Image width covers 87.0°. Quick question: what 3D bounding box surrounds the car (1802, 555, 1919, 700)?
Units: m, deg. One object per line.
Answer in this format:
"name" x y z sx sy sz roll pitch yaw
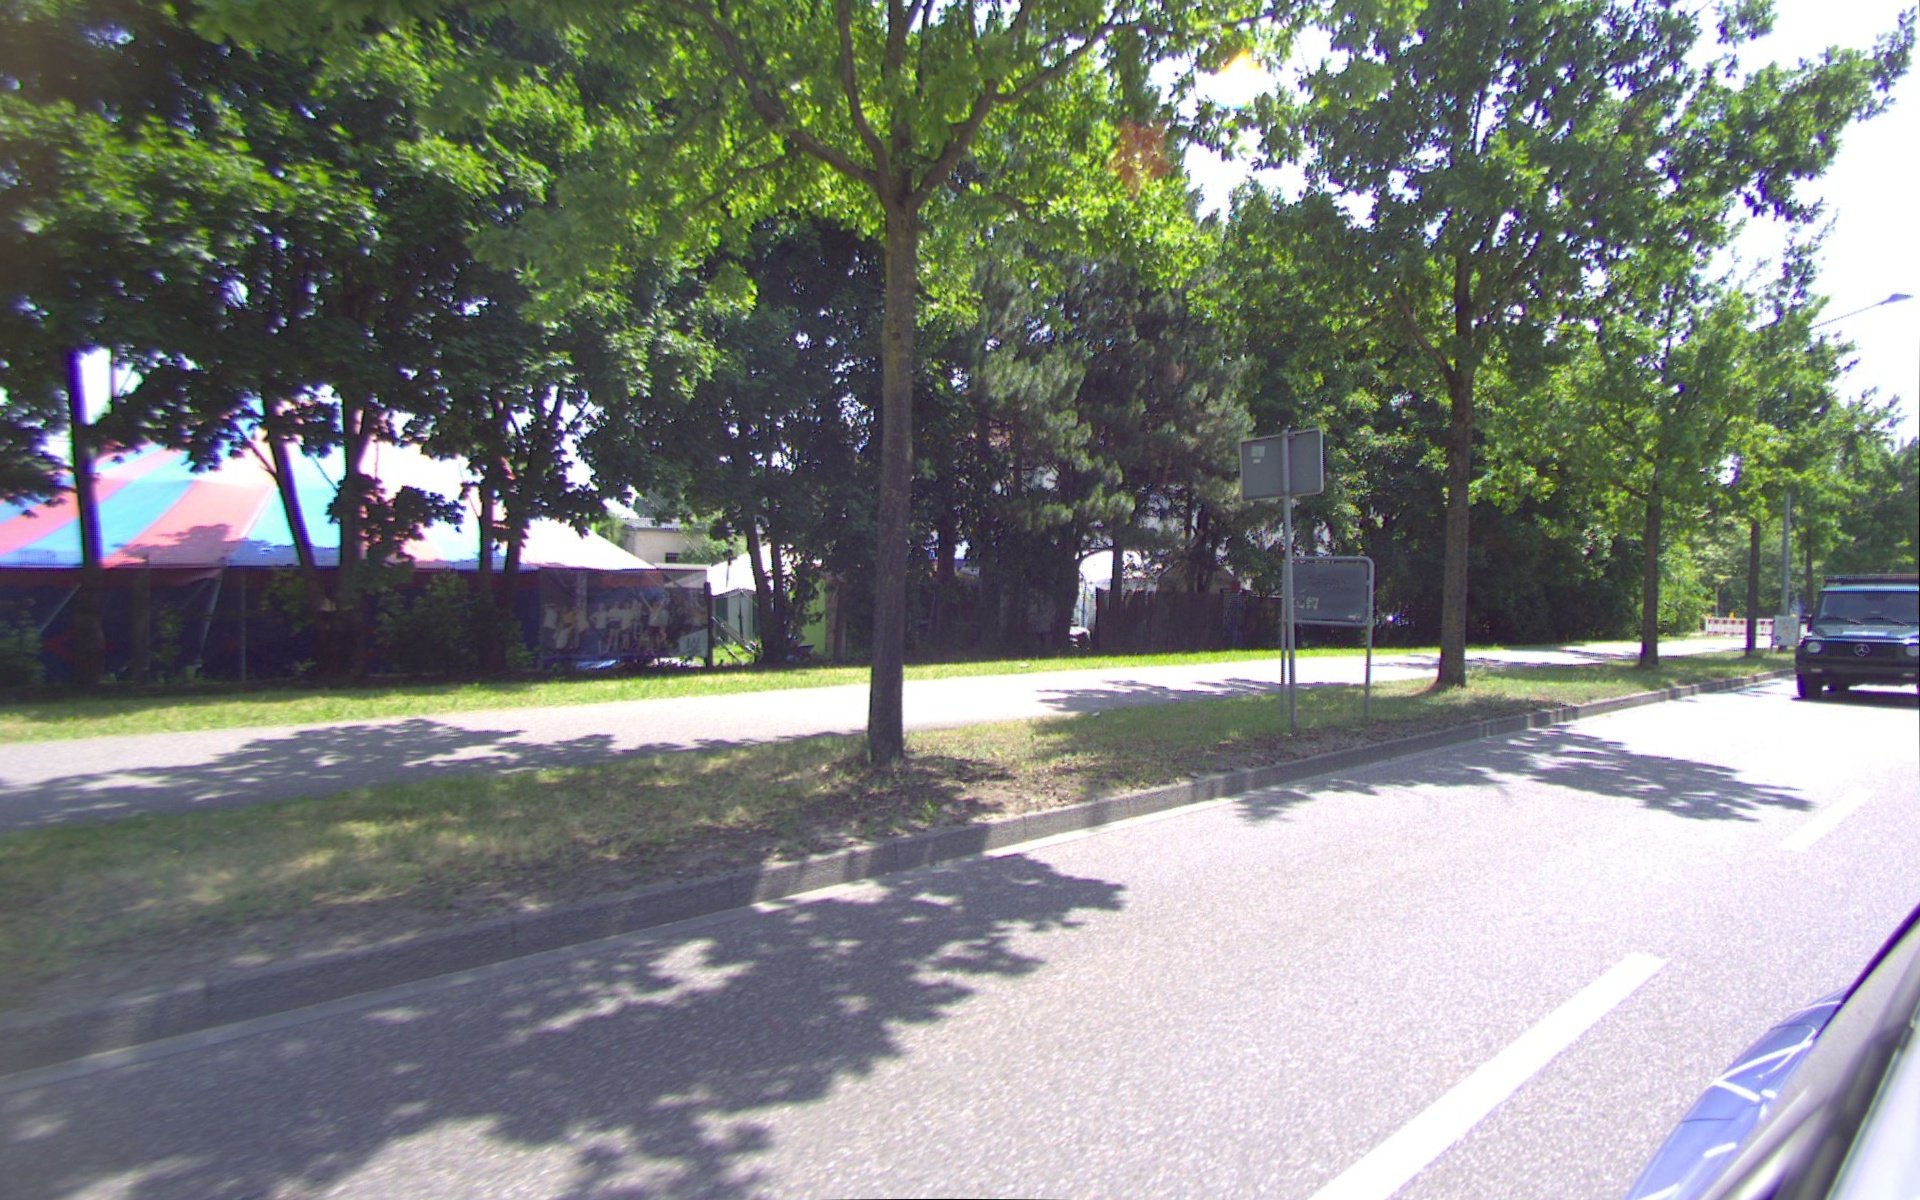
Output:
"car" 15.802 0.415 17.075 4.480 2.180 1.839 0 1 -42
